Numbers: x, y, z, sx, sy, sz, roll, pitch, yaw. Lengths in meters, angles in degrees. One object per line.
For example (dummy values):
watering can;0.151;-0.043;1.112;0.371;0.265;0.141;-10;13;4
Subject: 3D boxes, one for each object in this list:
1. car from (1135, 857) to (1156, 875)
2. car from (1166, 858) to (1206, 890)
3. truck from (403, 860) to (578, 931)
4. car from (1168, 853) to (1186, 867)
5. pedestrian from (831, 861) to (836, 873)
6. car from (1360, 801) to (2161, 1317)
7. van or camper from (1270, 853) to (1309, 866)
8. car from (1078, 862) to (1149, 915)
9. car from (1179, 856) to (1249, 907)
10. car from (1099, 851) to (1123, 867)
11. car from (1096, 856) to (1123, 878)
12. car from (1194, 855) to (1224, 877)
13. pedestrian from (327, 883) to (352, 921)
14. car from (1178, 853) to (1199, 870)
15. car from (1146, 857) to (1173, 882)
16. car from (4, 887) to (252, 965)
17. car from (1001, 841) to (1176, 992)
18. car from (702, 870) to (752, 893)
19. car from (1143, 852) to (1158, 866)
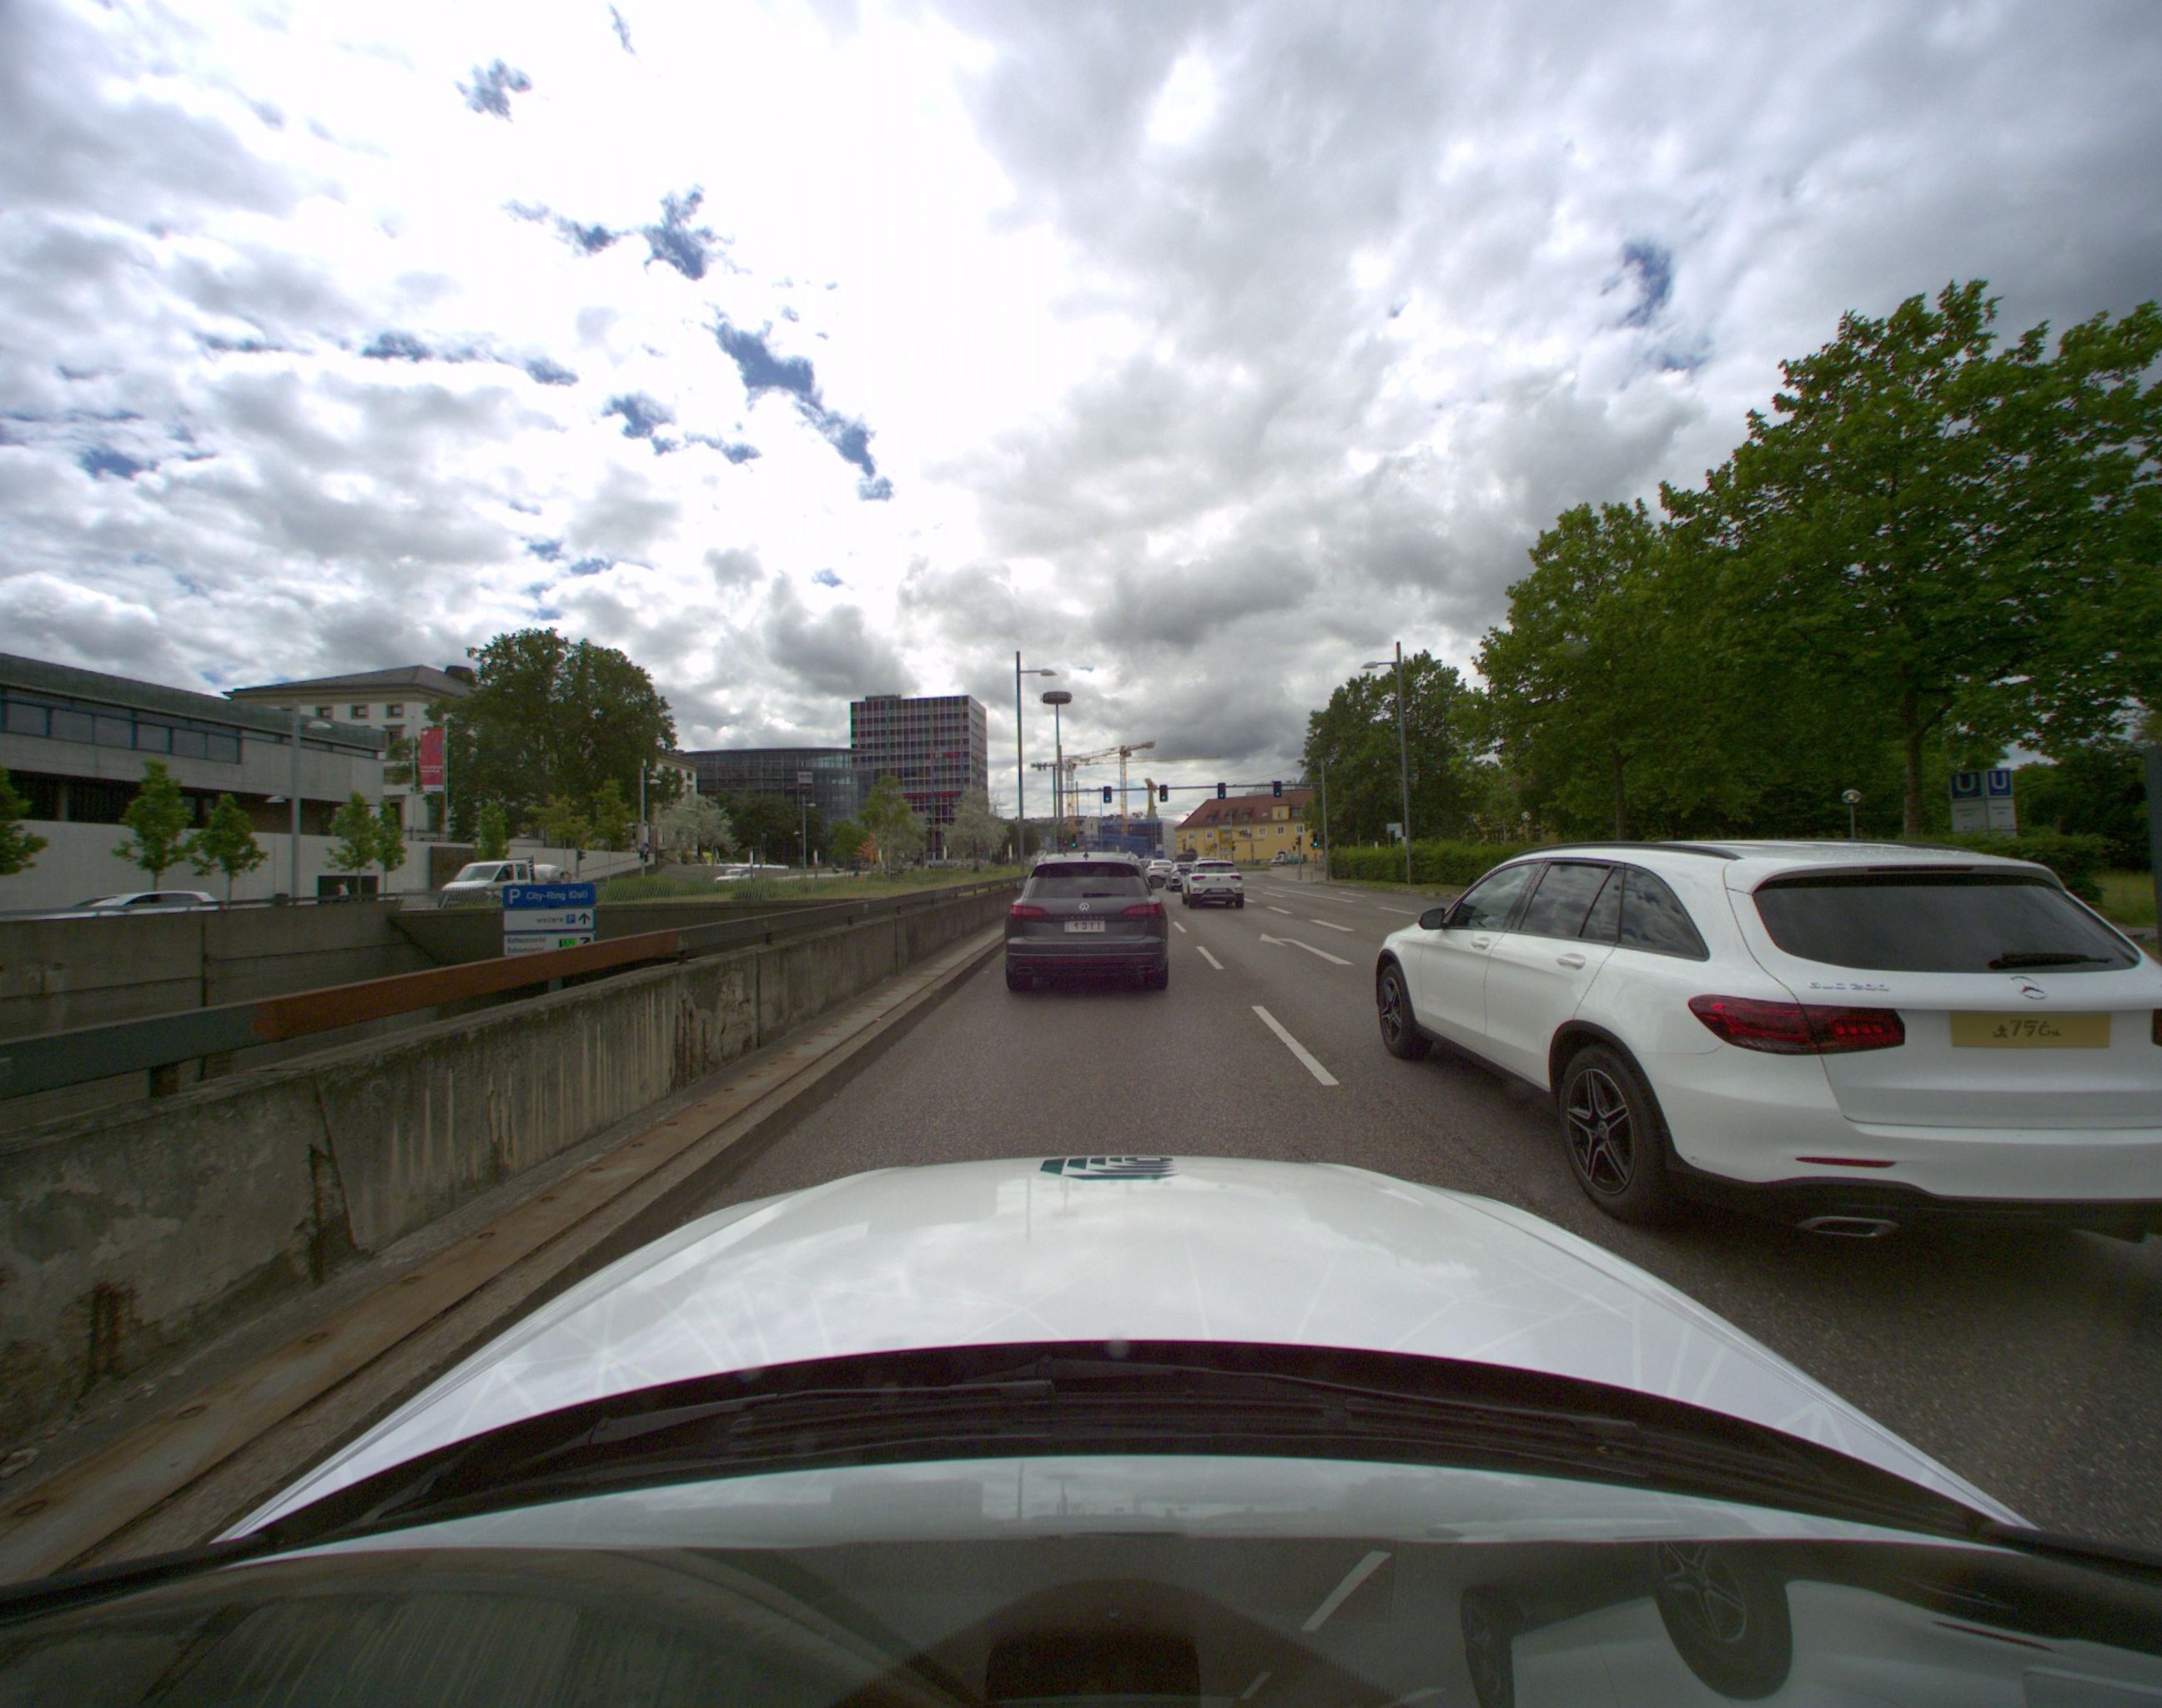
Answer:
car;6.625;1.222;83.851;2.130;1.728;4.074;-1;-1;3
car;5.207;0.970;40.819;1.711;1.502;4.147;-1;0;3
truck;-26.571;1.731;37.165;2.453;2.816;7.085;-1;0;4
car;10.624;0.600;90.330;1.711;1.502;3.985;-1;0;3
pedestrian;-33.219;1.729;109.359;0.522;1.649;0.651;0;-1;1
car;3.195;0.660;4.813;1.811;1.647;4.383;-1;0;3
van or camper;35.327;0.949;138.113;5.947;2.014;2.032;-2;-1;38
car;1.002;1.000;25.132;1.986;1.387;4.002;-1;0;2
car;4.406;0.876;27.483;1.886;1.585;3.803;-1;0;2
car;2.972;0.455;80.939;2.235;1.502;4.615;-1;0;3
car;2.018;0.916;57.616;1.807;1.496;3.908;-1;0;2
car;9.294;0.828;59.287;1.795;1.502;3.985;-1;0;3
pedestrian;-34.032;2.198;37.382;0.538;1.733;0.664;-1;0;2
car;9.935;0.685;75.449;1.711;1.502;3.985;-1;0;3
car;5.158;0.995;53.521;1.710;1.502;3.987;-1;0;6
car;-27.062;1.970;23.390;1.986;1.816;4.260;-1;0;2
car;0.161;0.692;11.006;1.925;1.647;4.002;-1;0;2
car;-28.416;2.185;65.525;1.711;1.574;4.617;-1;0;3
car;10.741;0.780;126.161;1.986;2.013;4.002;-1;0;2
